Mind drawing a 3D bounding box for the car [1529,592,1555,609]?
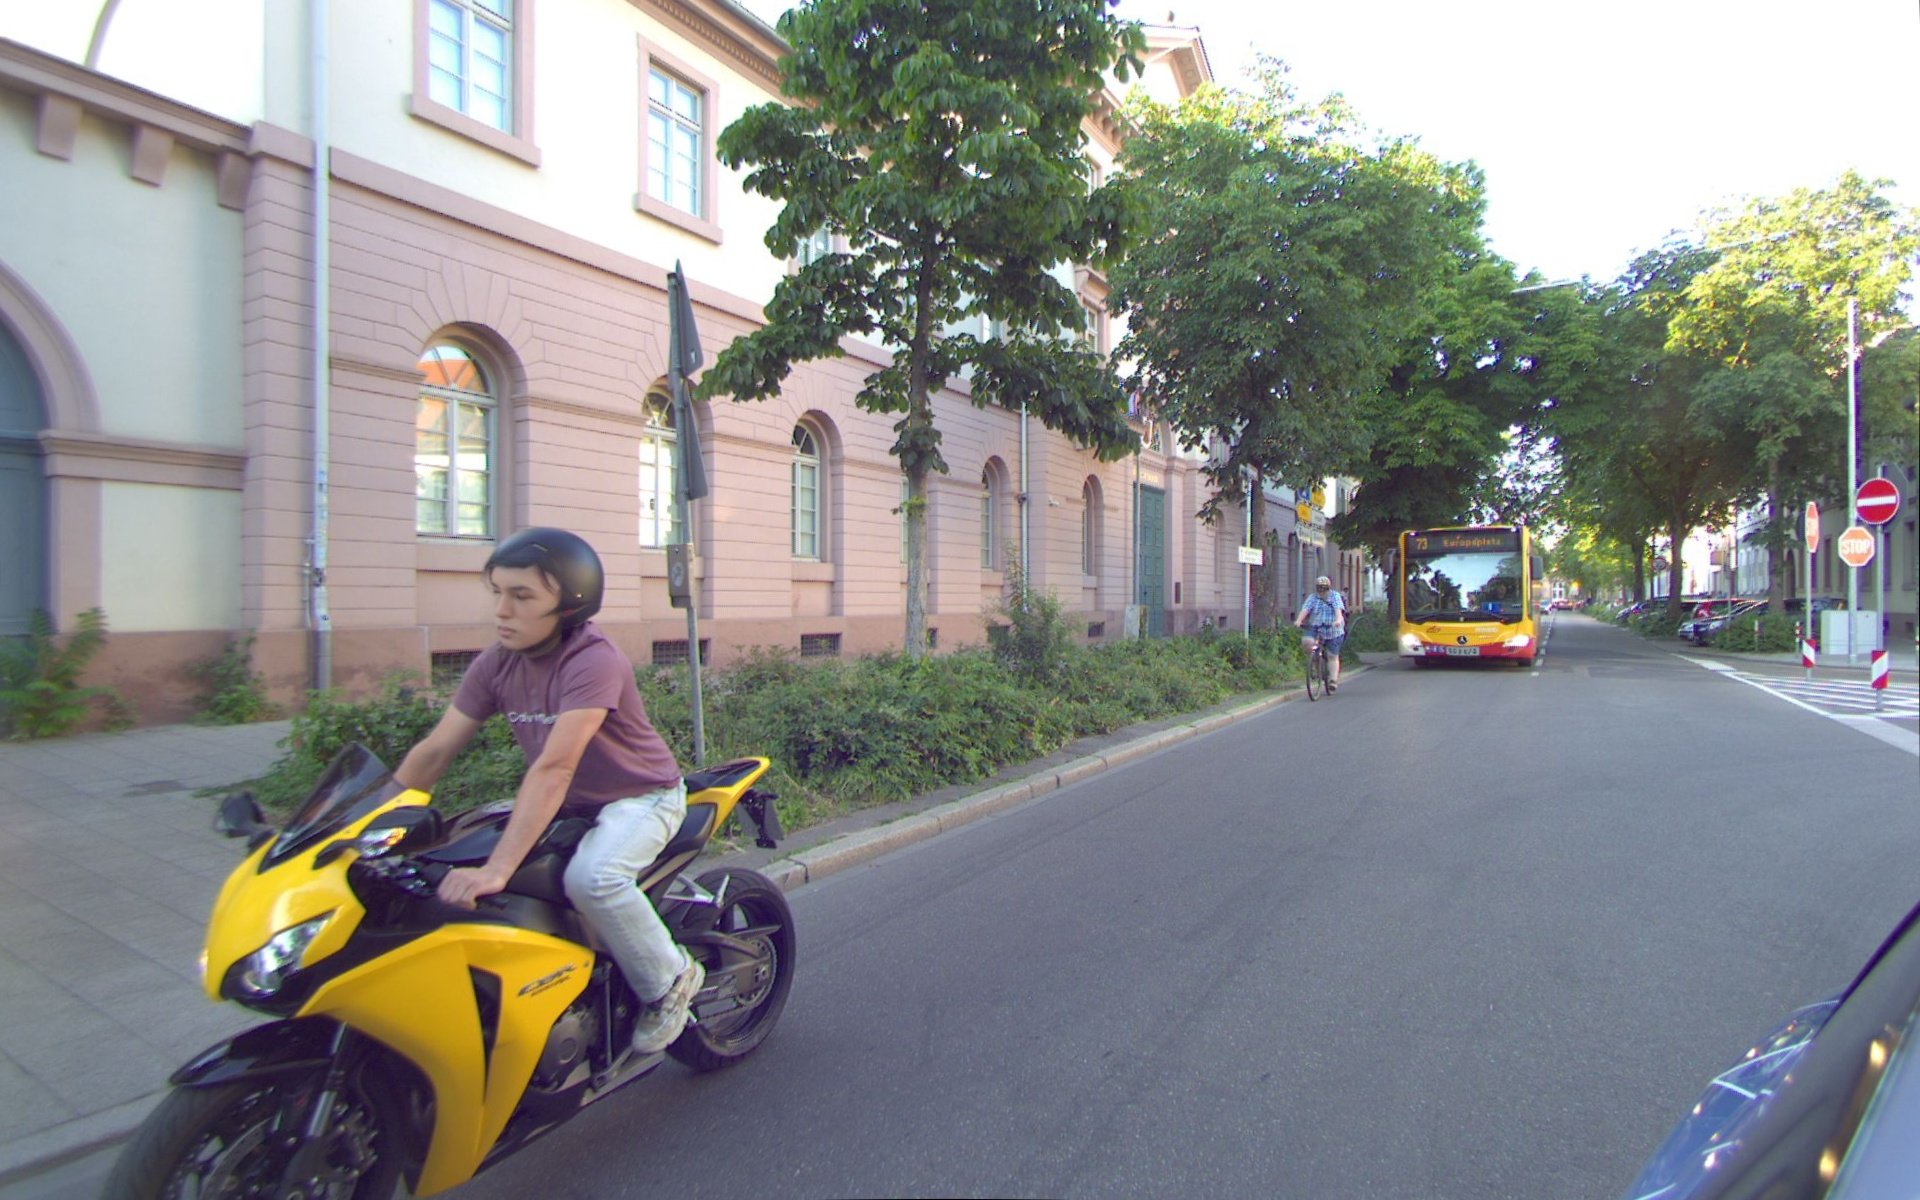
[{"bbox_3d":[58.975,0.064,102.523,2.067,1.719,3.954,0,0,32],"label":"car"}]

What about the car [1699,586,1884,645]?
[{"bbox_3d":[24.539,0.423,30.076,3.966,1.635,1.809,0,0,30],"label":"car"}]

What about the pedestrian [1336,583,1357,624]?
[{"bbox_3d":[17.663,0.155,46.214,0.794,1.855,0.920,0,0,29],"label":"pedestrian"}]

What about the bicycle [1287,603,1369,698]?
[{"bbox_3d":[5.683,0.742,15.564,0.777,1.347,2.055,-2,-1,31],"label":"bicycle"}]

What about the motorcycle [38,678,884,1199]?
[{"bbox_3d":[-1.060,0.876,2.711,0.786,1.175,1.947,-2,-1,28],"label":"motorcycle"}]

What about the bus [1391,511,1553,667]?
[{"bbox_3d":[13.292,-0.201,25.570,2.691,3.039,11.947,-2,-1,31],"label":"bus"}]

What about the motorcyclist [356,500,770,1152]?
[{"bbox_3d":[-1.053,0.504,2.738,0.786,1.438,0.692,-2,-1,28],"label":"motorcyclist"}]

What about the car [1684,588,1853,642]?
[{"bbox_3d":[25.590,0.451,32.215,3.966,1.635,1.705,0,0,30],"label":"car"}]

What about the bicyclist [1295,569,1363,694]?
[{"bbox_3d":[5.692,0.476,15.595,0.777,1.863,0.817,-2,-1,31],"label":"bicyclist"}]

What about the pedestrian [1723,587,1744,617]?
[{"bbox_3d":[47.012,0.121,61.500,0.888,1.793,1.010,0,0,30],"label":"pedestrian"}]

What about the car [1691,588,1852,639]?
[{"bbox_3d":[27.170,0.414,34.062,3.966,1.635,1.705,0,0,30],"label":"car"}]

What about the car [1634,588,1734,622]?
[{"bbox_3d":[36.719,0.243,51.430,3.966,1.635,1.705,0,0,30],"label":"car"}]
